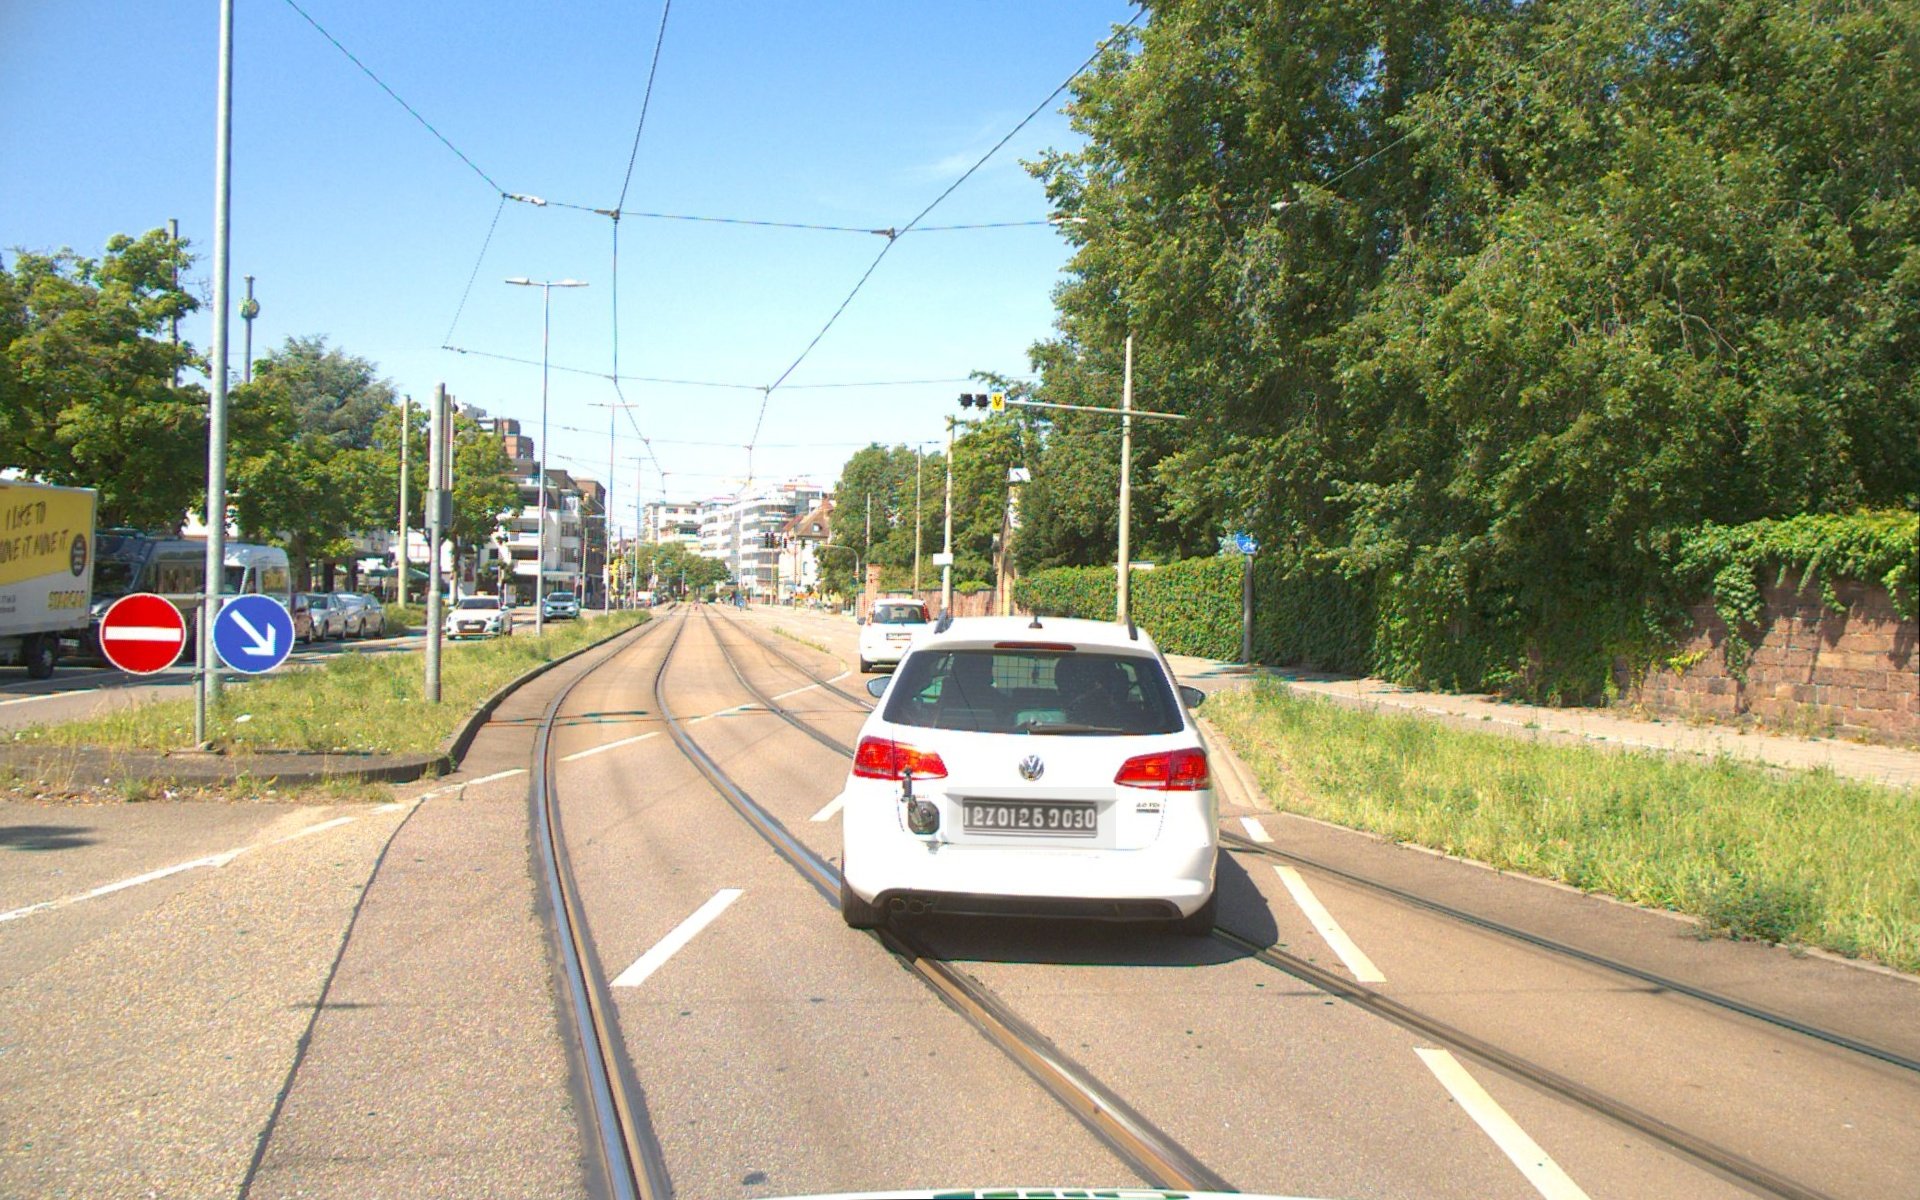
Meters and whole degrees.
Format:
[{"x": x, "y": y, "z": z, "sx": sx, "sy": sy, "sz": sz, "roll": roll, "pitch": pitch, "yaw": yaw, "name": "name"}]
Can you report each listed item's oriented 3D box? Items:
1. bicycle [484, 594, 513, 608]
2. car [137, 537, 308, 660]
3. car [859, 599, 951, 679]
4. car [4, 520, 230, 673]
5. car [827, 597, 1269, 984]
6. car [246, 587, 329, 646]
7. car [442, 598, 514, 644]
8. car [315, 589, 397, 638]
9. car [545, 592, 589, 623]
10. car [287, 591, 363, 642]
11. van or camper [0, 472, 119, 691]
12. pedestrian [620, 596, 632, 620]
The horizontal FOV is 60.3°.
[{"x": -33.464, "y": 0.071, "z": 119.996, "sx": 0.542, "sy": 0.937, "sz": 2.170, "roll": 1, "pitch": 0, "yaw": 34, "name": "bicycle"}, {"x": -17.833, "y": -0.036, "z": 40.339, "sx": 2.155, "sy": 2.676, "sz": 5.967, "roll": 3, "pitch": 0, "yaw": -9, "name": "car"}, {"x": -1.147, "y": 0.810, "z": 36.434, "sx": 1.694, "sy": 1.624, "sz": 4.012, "roll": 1, "pitch": 0, "yaw": 3, "name": "car"}, {"x": -16.954, "y": -0.070, "z": 33.691, "sx": 2.155, "sy": 2.715, "sz": 6.067, "roll": 3, "pitch": 0, "yaw": -9, "name": "car"}, {"x": 0.374, "y": 0.755, "z": 8.518, "sx": 1.742, "sy": 1.516, "sz": 3.847, "roll": 1, "pitch": 0, "yaw": 1, "name": "car"}, {"x": -18.915, "y": 0.443, "z": 46.635, "sx": 1.268, "sy": 1.516, "sz": 3.669, "roll": 3, "pitch": 0, "yaw": -9, "name": "car"}, {"x": -16.119, "y": 0.675, "z": 55.480, "sx": 1.758, "sy": 1.447, "sz": 4.327, "roll": 1, "pitch": 0, "yaw": -9, "name": "car"}, {"x": -20.483, "y": 0.428, "z": 56.270, "sx": 1.574, "sy": 1.516, "sz": 4.610, "roll": 3, "pitch": 0, "yaw": -7, "name": "car"}, {"x": -21.421, "y": 0.388, "z": 90.283, "sx": 2.005, "sy": 1.625, "sz": 4.650, "roll": 1, "pitch": 0, "yaw": -9, "name": "car"}, {"x": -19.578, "y": 0.484, "z": 51.125, "sx": 1.268, "sy": 1.516, "sz": 4.342, "roll": 1, "pitch": 0, "yaw": -9, "name": "car"}, {"x": -15.653, "y": -0.323, "z": 25.885, "sx": 2.155, "sy": 3.297, "sz": 6.760, "roll": 3, "pitch": 0, "yaw": -8, "name": "van or camper"}, {"x": -24.609, "y": 0.616, "z": 121.890, "sx": 0.813, "sy": 1.769, "sz": 0.928, "roll": 1, "pitch": 0, "yaw": -17, "name": "pedestrian"}]
